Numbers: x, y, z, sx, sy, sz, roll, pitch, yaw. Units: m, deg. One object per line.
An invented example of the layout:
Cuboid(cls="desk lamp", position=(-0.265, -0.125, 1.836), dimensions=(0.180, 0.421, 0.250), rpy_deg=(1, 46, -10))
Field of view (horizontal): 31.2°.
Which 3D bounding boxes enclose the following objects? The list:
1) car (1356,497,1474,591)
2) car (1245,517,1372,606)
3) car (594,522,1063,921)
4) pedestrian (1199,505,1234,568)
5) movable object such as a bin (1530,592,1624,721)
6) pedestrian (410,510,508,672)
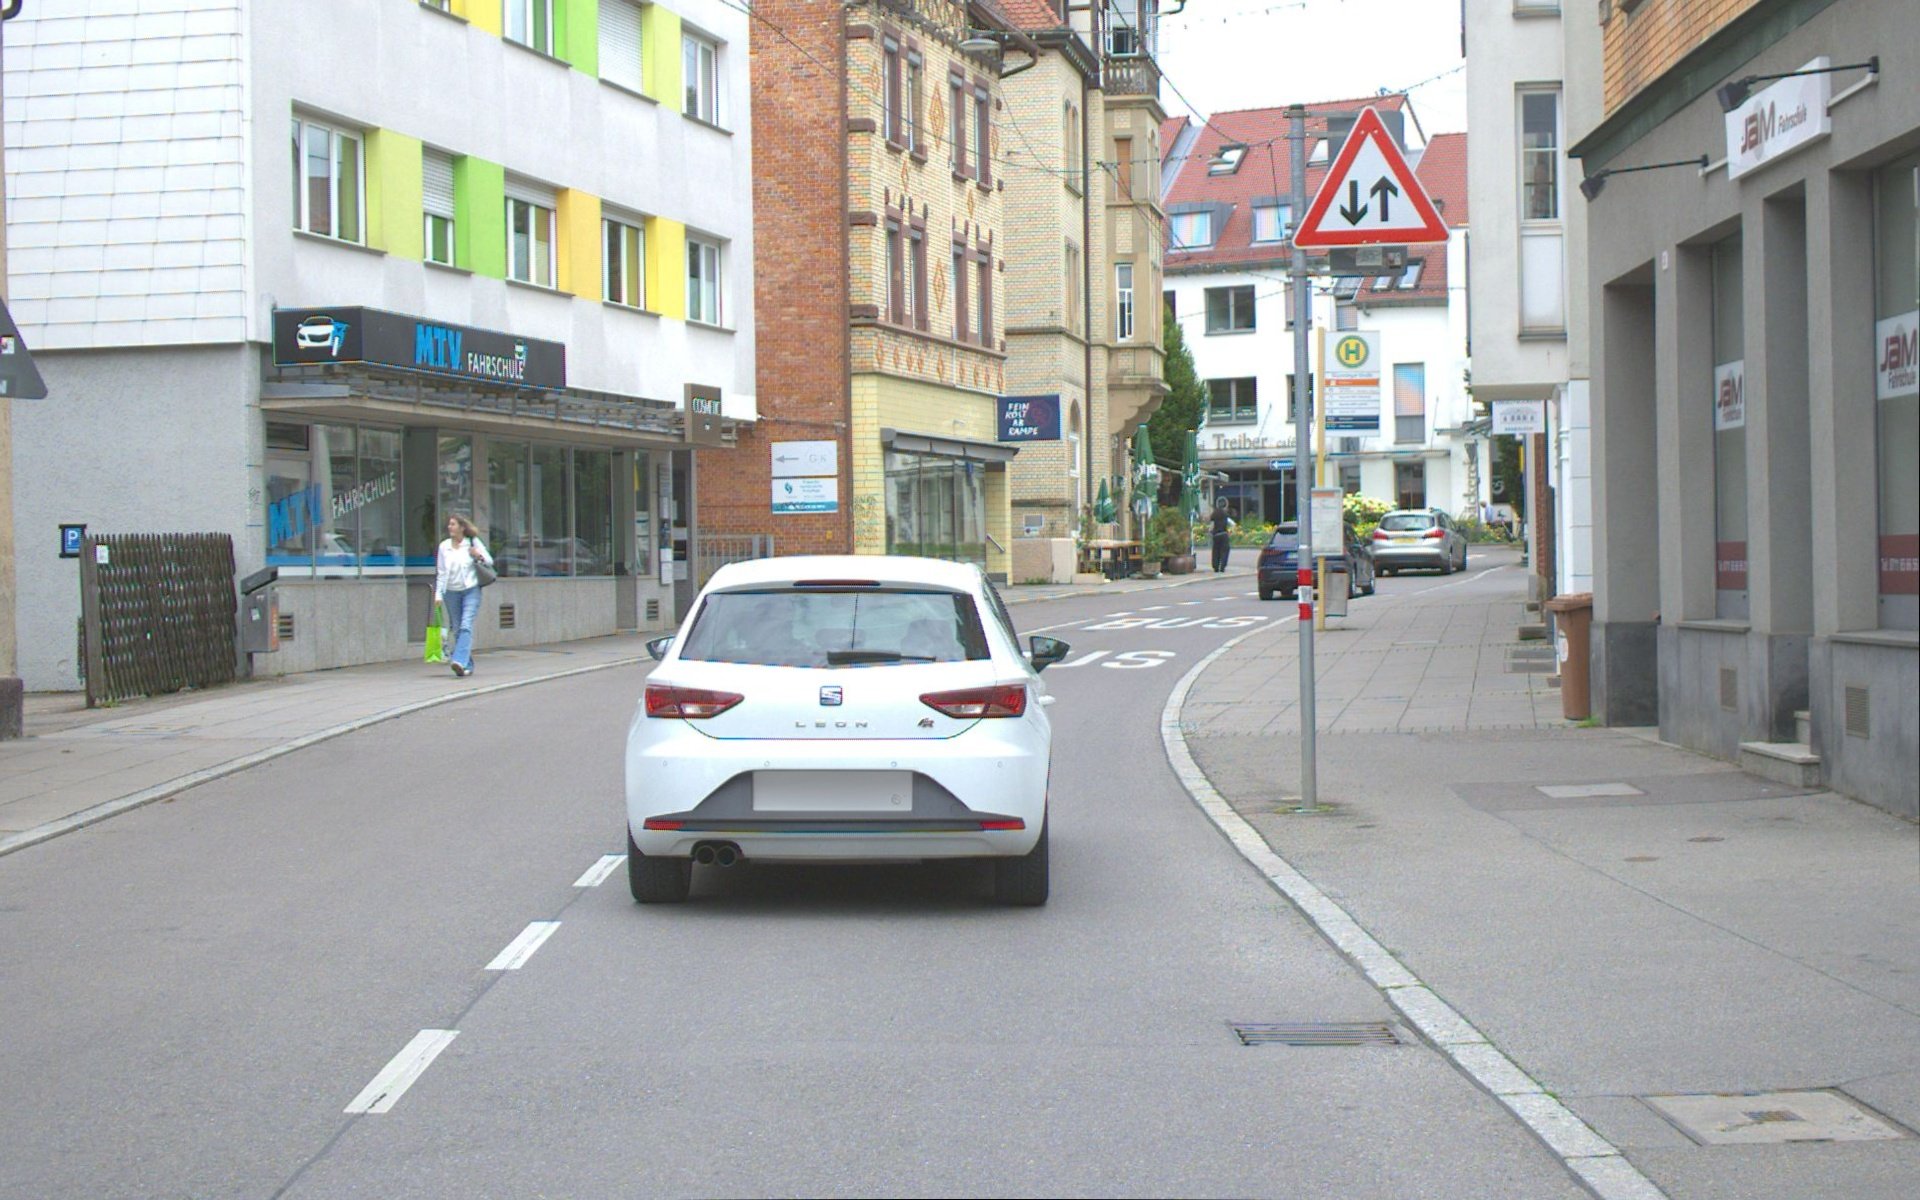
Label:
Cuboid(cls="car", position=(10.182, -1.271, 76.722), dimensions=(1.995, 2.007, 3.997), rpy_deg=(-1, 1, 17))
Cuboid(cls="car", position=(6.432, -0.729, 63.095), dimensions=(1.812, 1.475, 3.868), rpy_deg=(-1, 2, 13))
Cuboid(cls="car", position=(-0.468, 0.431, 15.272), dimensions=(1.811, 1.475, 3.871), rpy_deg=(0, 2, 1))
Cuboid(cls="pedestrian", position=(6.360, -1.580, 85.178), dimensions=(0.834, 1.546, 0.627), rpy_deg=(-1, 1, 7))
Cuboid(cls="movable object such as a bin", position=(4.544, 0.412, 25.327), dimensions=(0.619, 0.918, 0.581), rpy_deg=(-1, 1, 5))
Cuboid(cls="pedestrian", position=(-5.220, -0.101, 35.839), dimensions=(0.892, 1.659, 0.861), rpy_deg=(-1, 1, -2))
